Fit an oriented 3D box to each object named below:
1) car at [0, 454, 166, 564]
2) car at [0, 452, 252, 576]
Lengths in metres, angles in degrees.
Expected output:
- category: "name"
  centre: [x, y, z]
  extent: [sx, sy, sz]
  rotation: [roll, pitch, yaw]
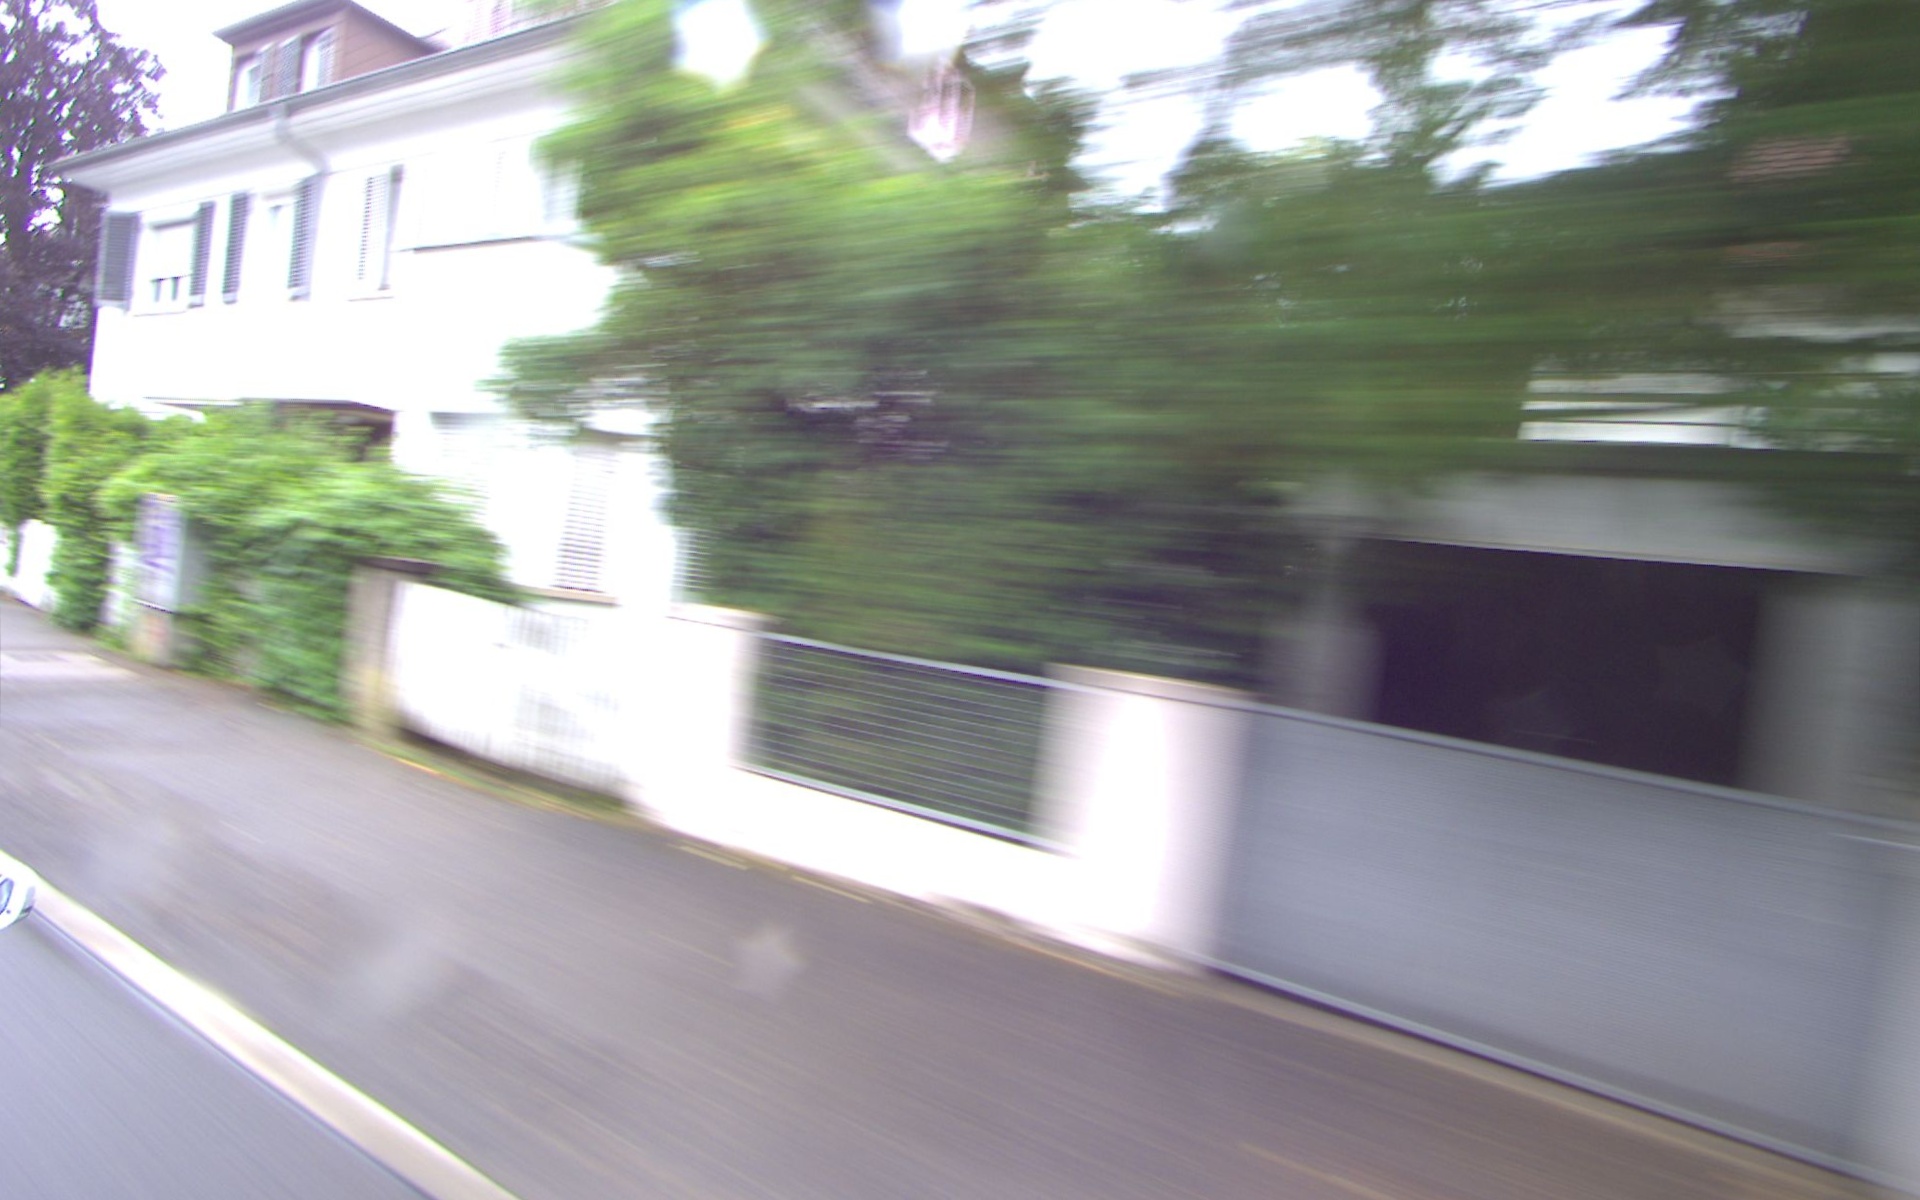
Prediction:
- category: "car"
  centre: [-18.949, -1.915, 19.900]
  extent: [1.968, 1.899, 4.660]
  rotation: [8, 2, 35]
- category: "car"
  centre: [-16.125, -1.604, 18.461]
  extent: [1.968, 1.836, 4.660]
  rotation: [8, 2, 35]
